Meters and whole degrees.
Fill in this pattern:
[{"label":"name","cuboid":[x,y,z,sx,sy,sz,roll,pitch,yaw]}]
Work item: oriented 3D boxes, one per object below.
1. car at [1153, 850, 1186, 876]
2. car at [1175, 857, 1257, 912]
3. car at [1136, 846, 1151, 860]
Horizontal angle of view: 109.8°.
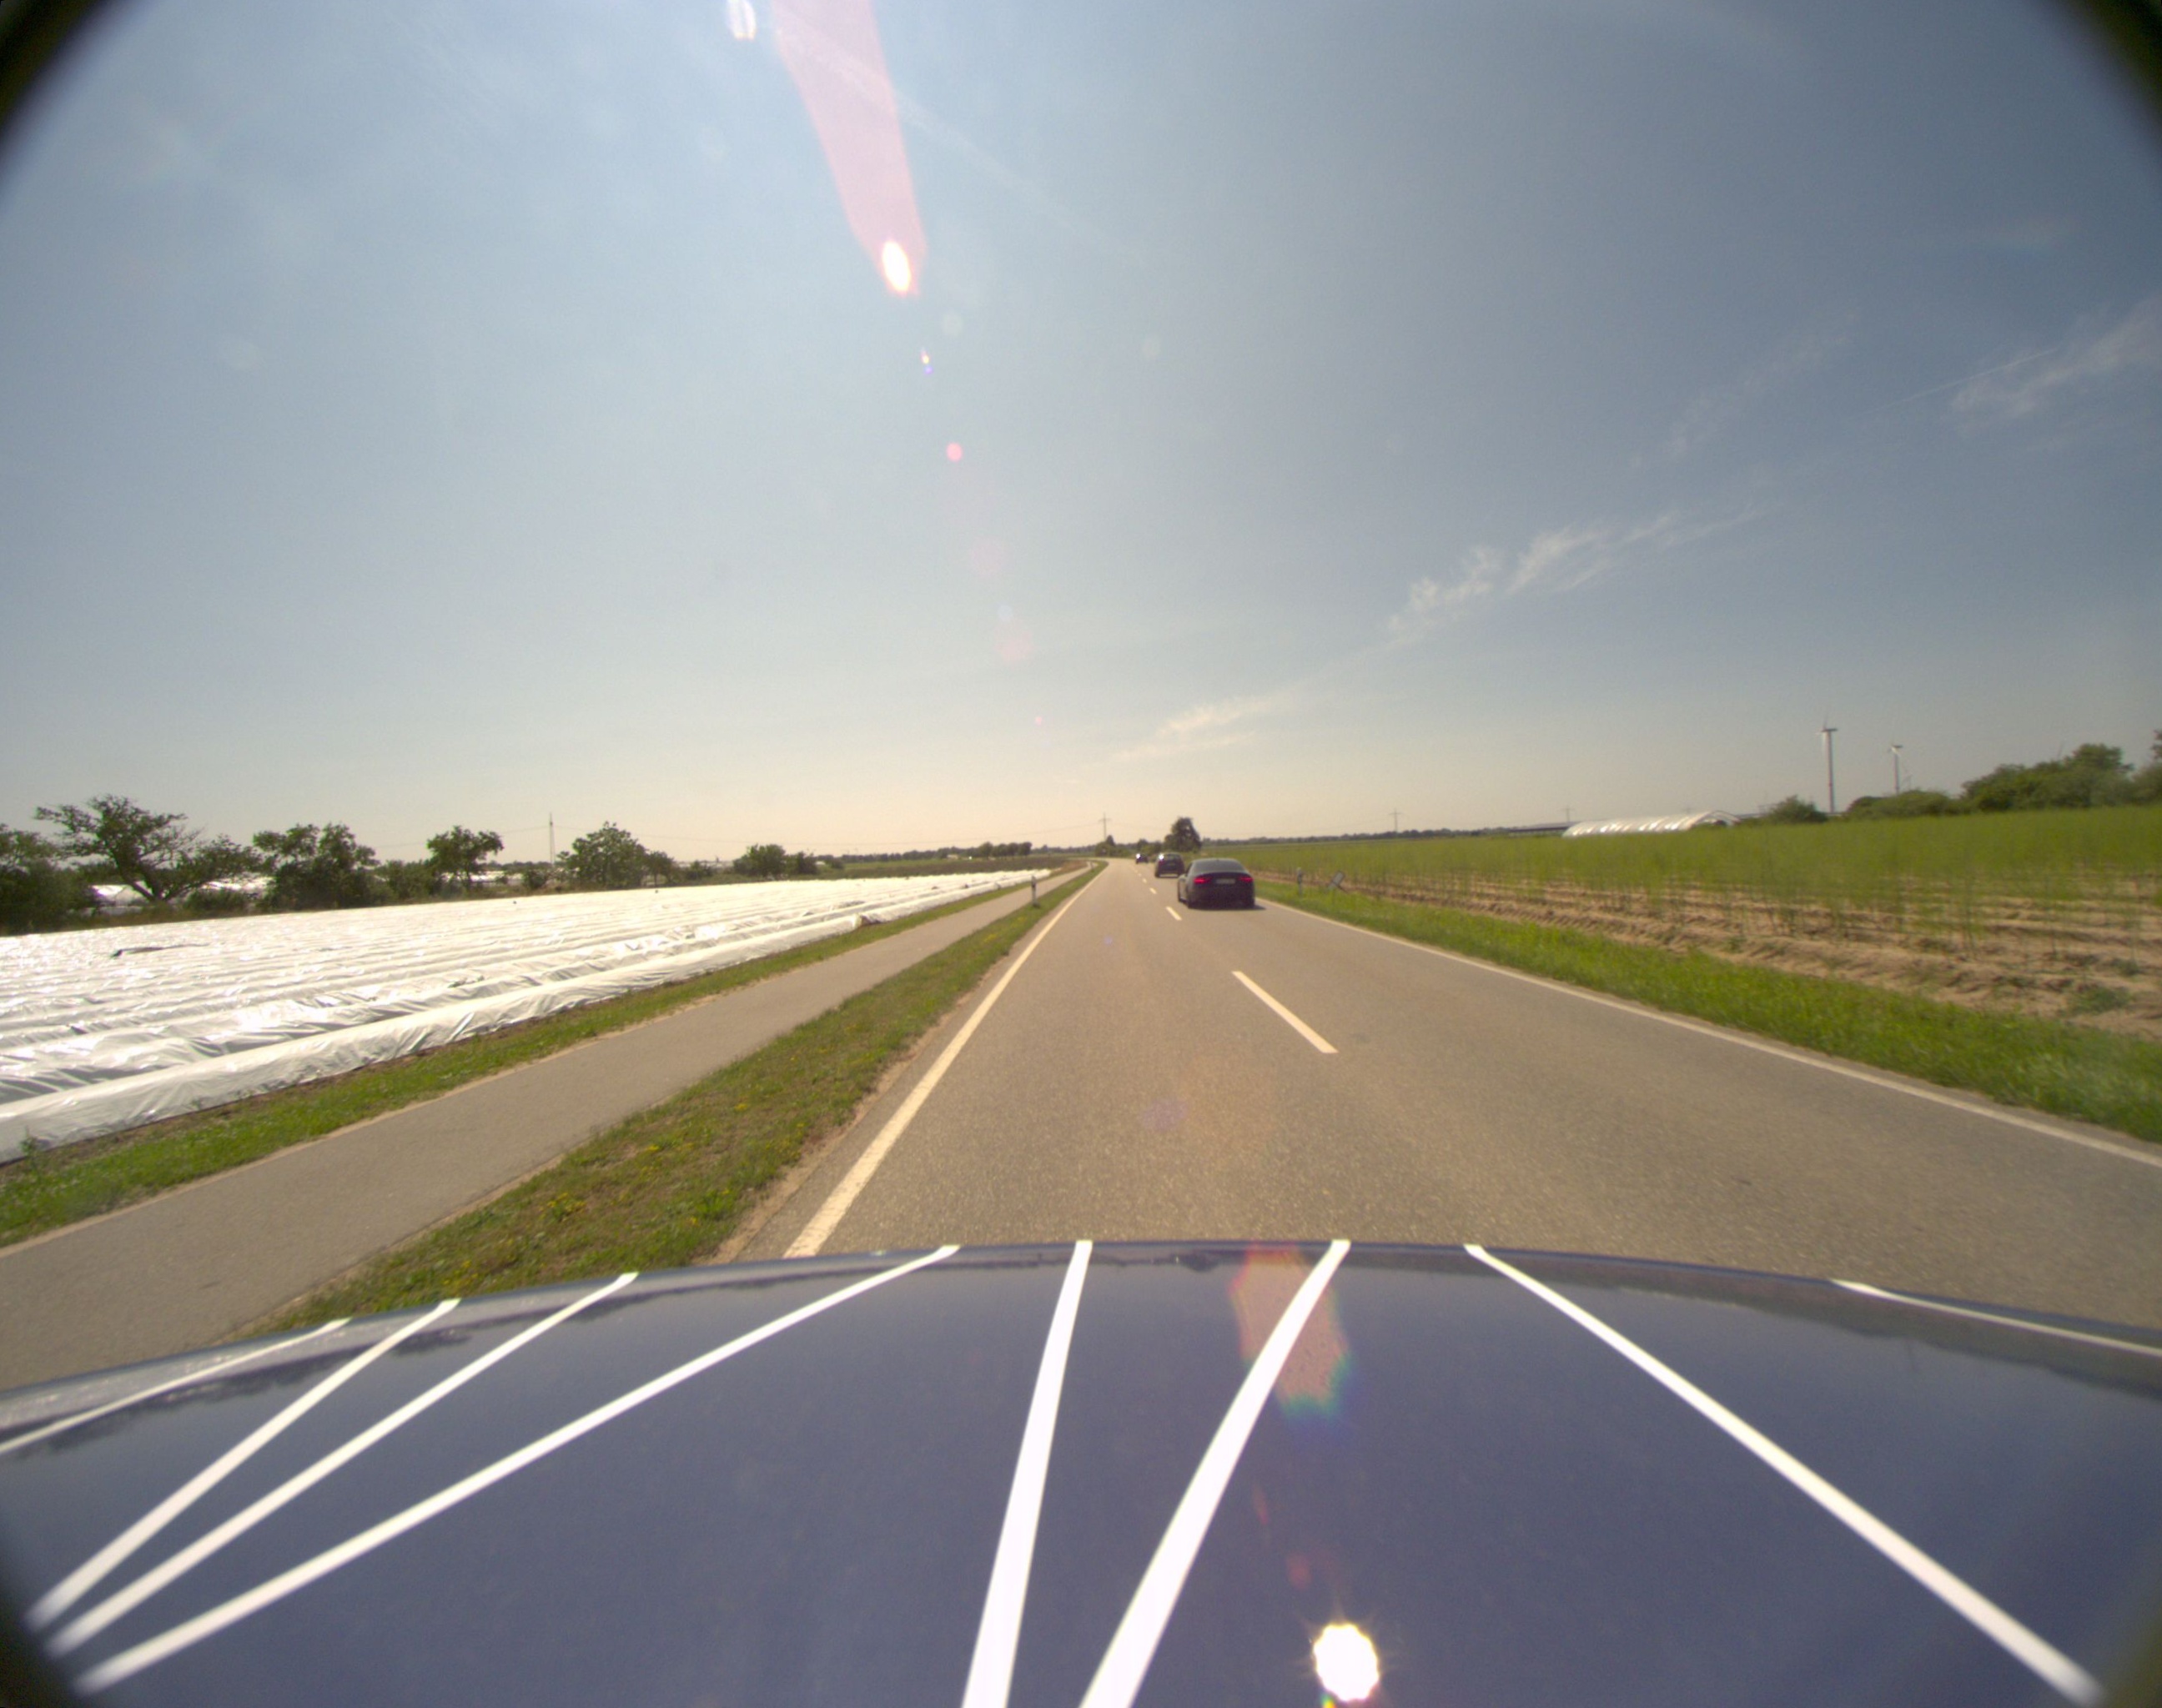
[{"label":"car","cuboid":[5.528,0.538,47.870,1.744,1.523,4.142,-2,1,3]},{"label":"car","cuboid":[3.804,0.812,22.073,1.745,1.349,4.419,-2,0,3]},{"label":"car","cuboid":[9.395,-0.227,114.036,1.998,2.002,4.000,-2,1,3]}]
